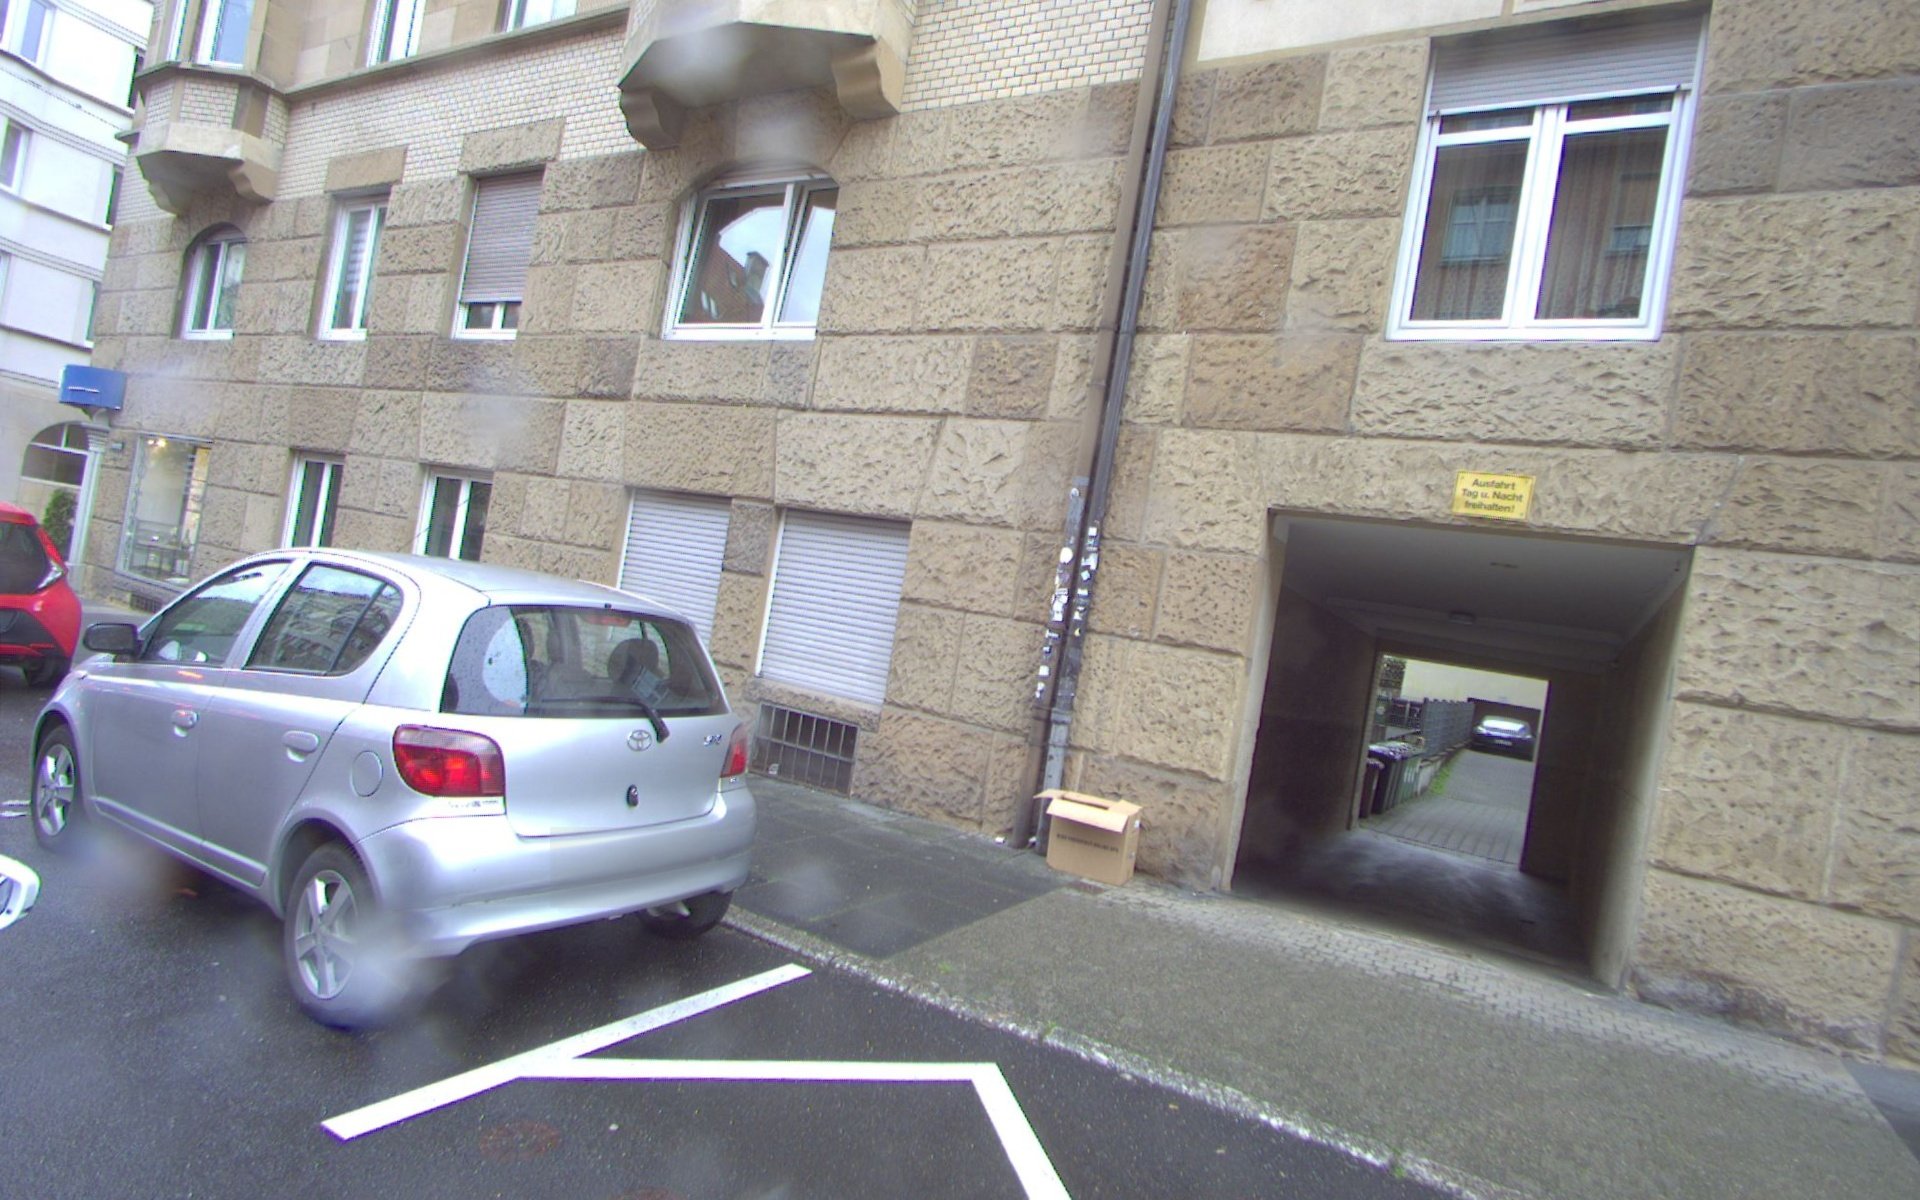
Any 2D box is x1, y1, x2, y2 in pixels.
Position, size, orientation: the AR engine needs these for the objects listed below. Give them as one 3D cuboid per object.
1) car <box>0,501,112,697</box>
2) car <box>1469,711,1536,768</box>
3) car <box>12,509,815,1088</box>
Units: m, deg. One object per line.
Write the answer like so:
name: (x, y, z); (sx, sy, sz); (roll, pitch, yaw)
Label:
car: (-8.724, -0.197, 8.182); (3.243, 1.464, 1.646); (7, -2, 29)
car: (18.350, 4.687, 33.948); (1.693, 1.538, 4.102); (7, -3, 31)
car: (-2.475, 0.549, 4.405); (3.258, 1.485, 1.616); (7, 0, 33)
